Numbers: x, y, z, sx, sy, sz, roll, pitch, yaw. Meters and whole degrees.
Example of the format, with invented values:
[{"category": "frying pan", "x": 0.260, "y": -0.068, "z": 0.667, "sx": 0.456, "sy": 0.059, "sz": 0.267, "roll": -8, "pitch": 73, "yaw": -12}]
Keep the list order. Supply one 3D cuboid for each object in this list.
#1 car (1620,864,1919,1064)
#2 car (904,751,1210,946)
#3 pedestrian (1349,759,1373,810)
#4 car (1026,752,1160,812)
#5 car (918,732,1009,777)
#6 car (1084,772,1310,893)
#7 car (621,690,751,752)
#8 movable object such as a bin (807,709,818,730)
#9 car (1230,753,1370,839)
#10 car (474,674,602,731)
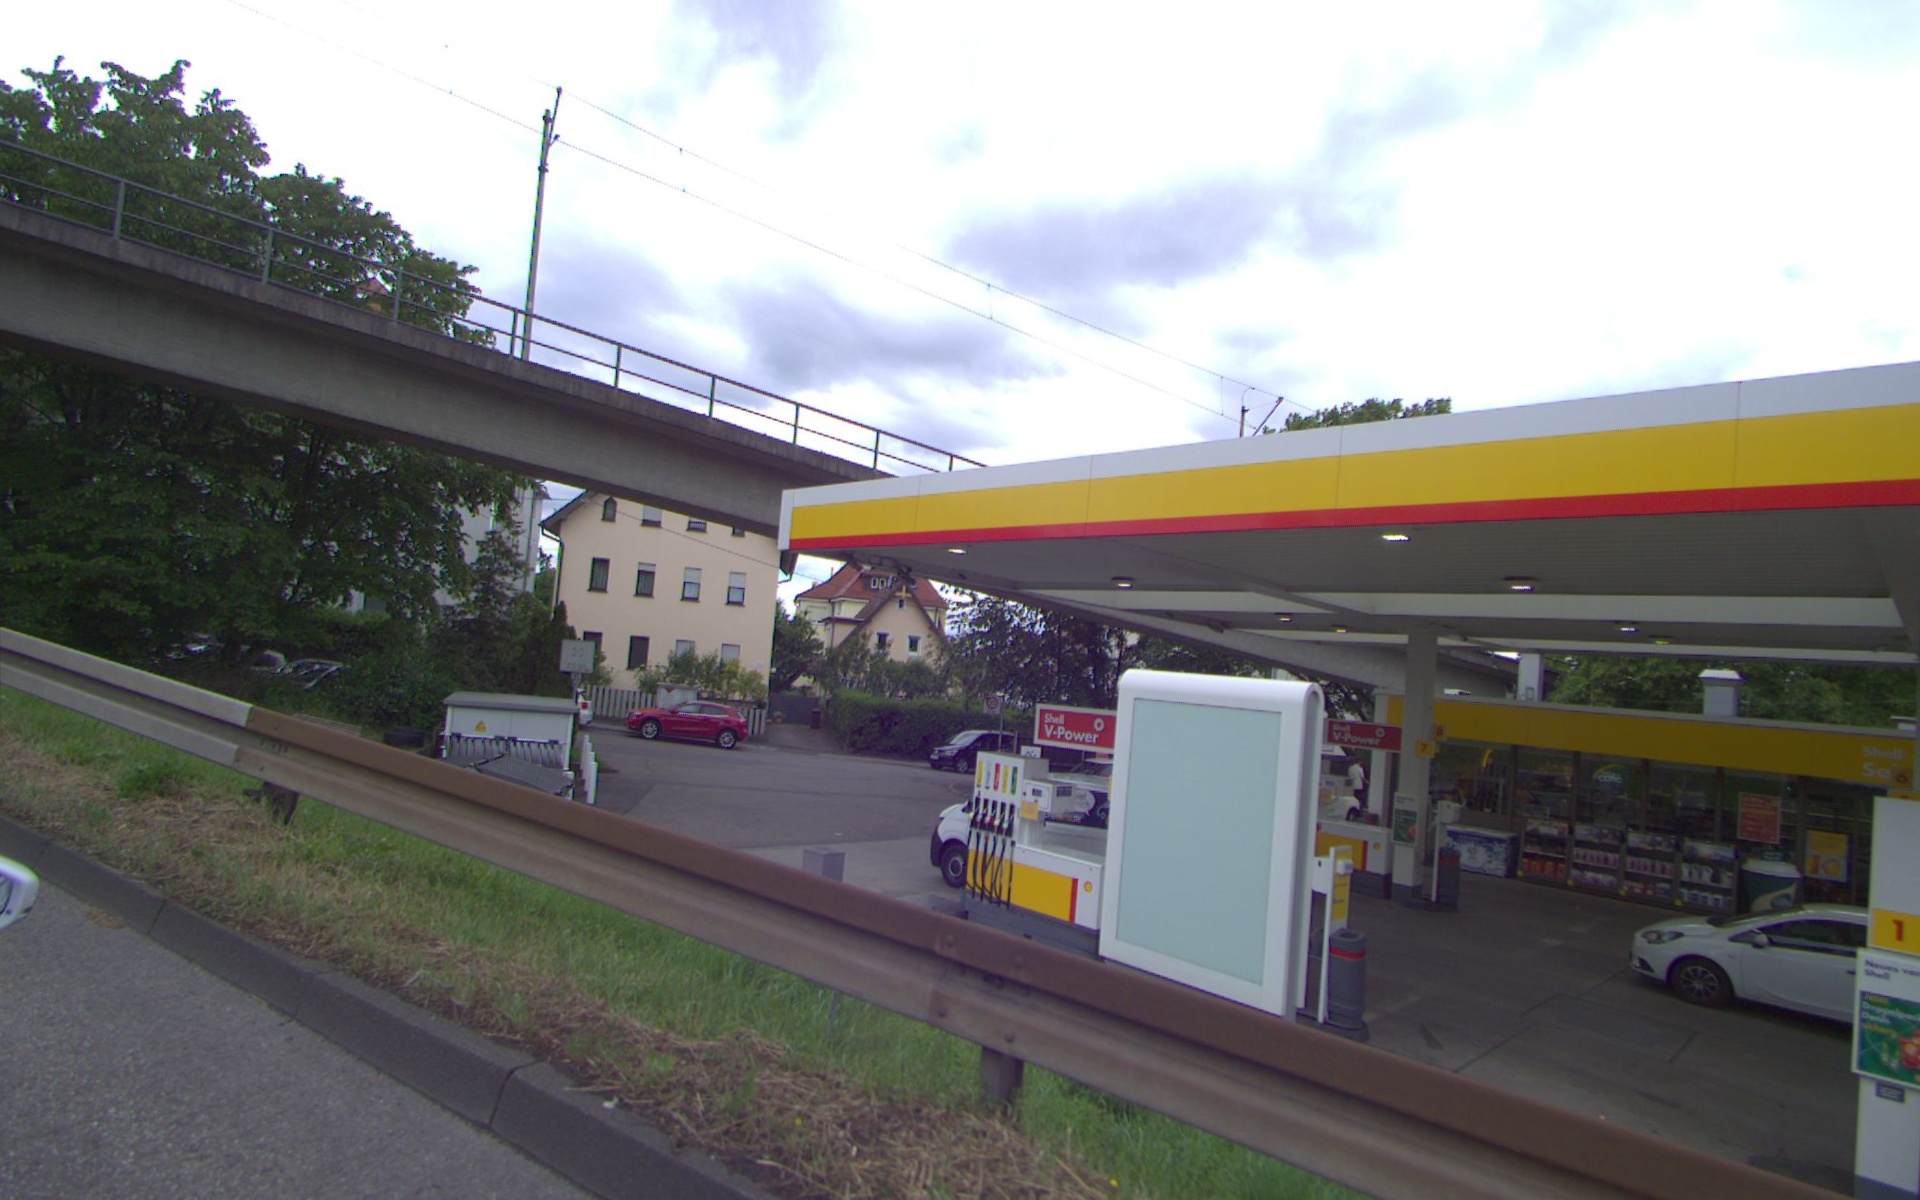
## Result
[{"category": "car", "x": 10.786, "y": 4.523, "z": 12.620, "sx": 1.729, "sy": 1.502, "sz": 3.836, "roll": 7, "pitch": -4, "yaw": -41}, {"category": "car", "x": 1.368, "y": 3.679, "z": 15.784, "sx": 1.731, "sy": 2.033, "sz": 4.658, "roll": 7, "pitch": -4, "yaw": -44}, {"category": "pedestrian", "x": 13.382, "y": 6.135, "z": 33.559, "sx": 0.421, "sy": 1.614, "sz": 0.504, "roll": 5, "pitch": -1, "yaw": -32}, {"category": "car", "x": 3.957, "y": 5.406, "z": 29.892, "sx": 3.582, "sy": 1.474, "sz": 1.649, "roll": 6, "pitch": -3, "yaw": -26}, {"category": "car", "x": 0.163, "y": 6.363, "z": 41.249, "sx": 1.583, "sy": 1.361, "sz": 3.574, "roll": 2, "pitch": -9, "yaw": 44}, {"category": "car", "x": 4.409, "y": 4.295, "z": 19.118, "sx": 1.729, "sy": 1.502, "sz": 3.836, "roll": 7, "pitch": -4, "yaw": -41}, {"category": "car", "x": -9.799, "y": 4.330, "z": 36.133, "sx": 4.242, "sy": 1.536, "sz": 1.621, "roll": 10, "pitch": -5, "yaw": -16}, {"category": "movable object such as a bin", "x": -7.014, "y": 5.697, "z": 47.869, "sx": 0.475, "sy": 0.949, "sz": 0.465, "roll": 3, "pitch": -3, "yaw": -9}, {"category": "car", "x": 9.253, "y": 5.236, "z": 27.266, "sx": 3.847, "sy": 1.960, "sz": 1.724, "roll": 7, "pitch": -4, "yaw": -39}, {"category": "car", "x": -14.627, "y": 3.558, "z": 35.081, "sx": 3.712, "sy": 1.408, "sz": 1.649, "roll": 10, "pitch": -5, "yaw": -13}]
